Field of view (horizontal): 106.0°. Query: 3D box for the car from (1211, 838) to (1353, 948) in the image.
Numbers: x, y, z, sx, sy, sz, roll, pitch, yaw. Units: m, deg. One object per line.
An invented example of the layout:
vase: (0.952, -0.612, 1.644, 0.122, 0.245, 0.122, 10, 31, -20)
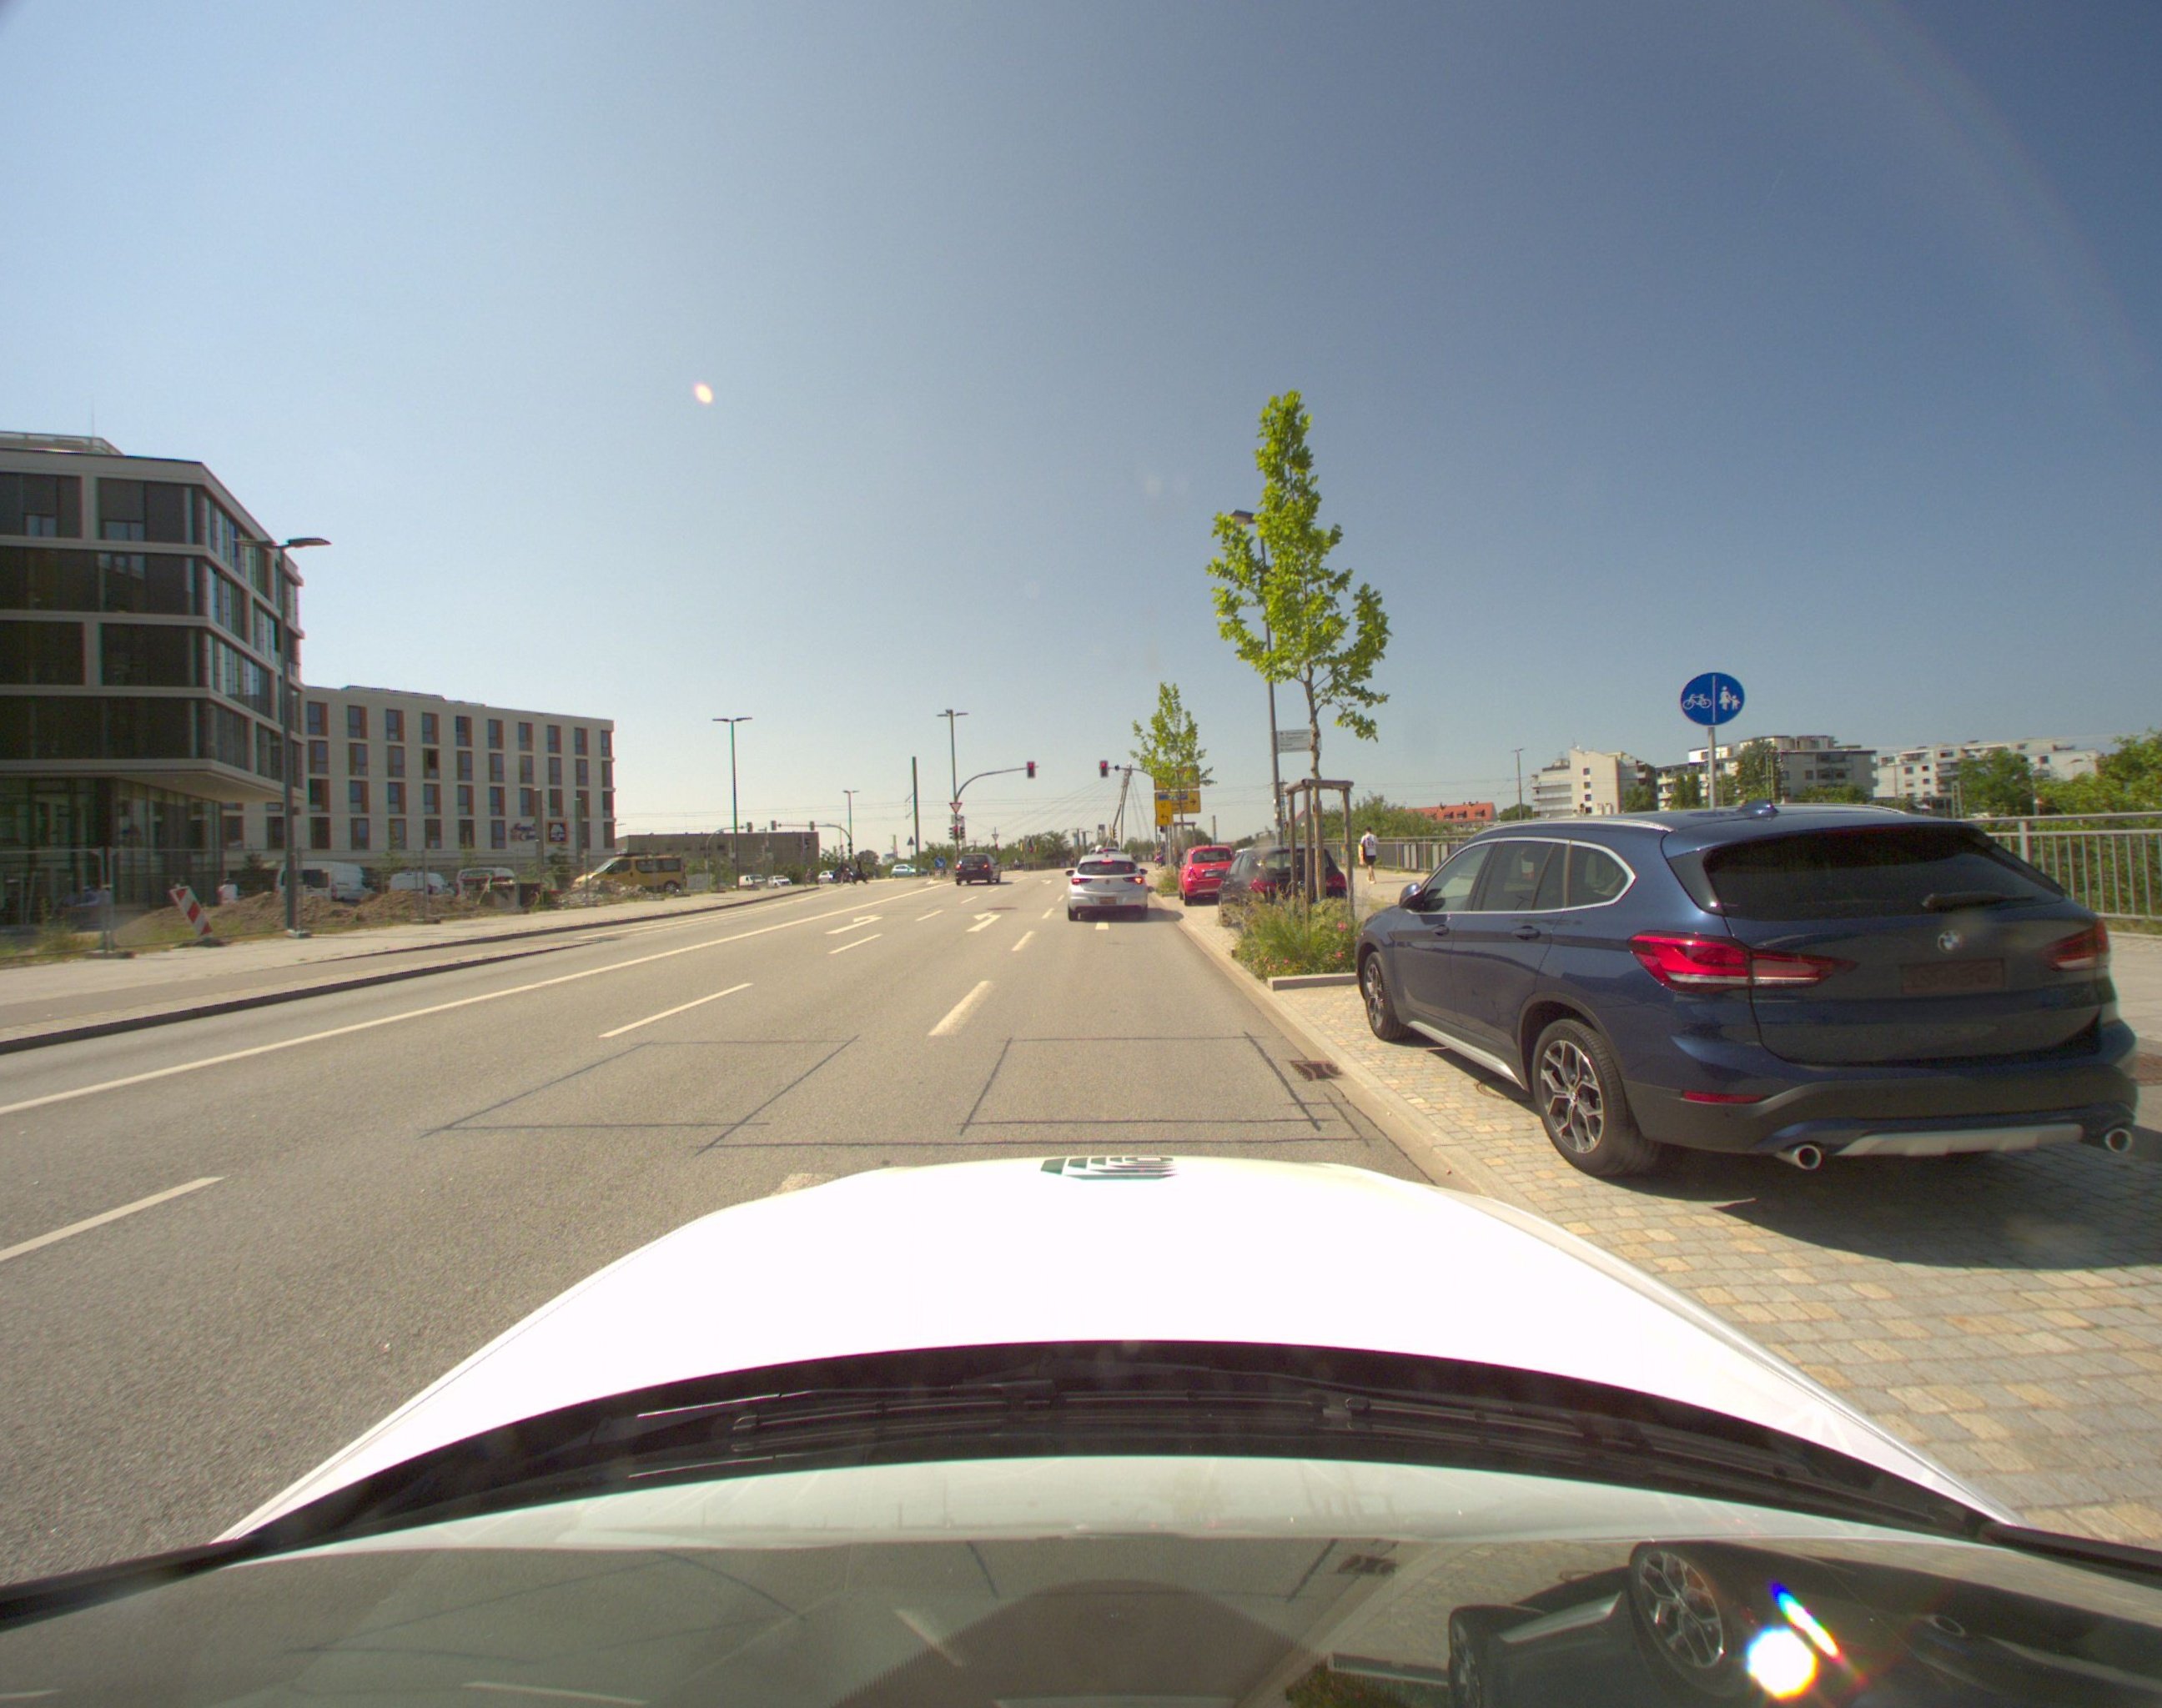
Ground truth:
car: (3.333, 0.578, 14.138, 1.575, 1.555, 3.548, -4, 0, 2)

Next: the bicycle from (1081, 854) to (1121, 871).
bicycle: (1.253, 0.551, 50.996, 2.494, 1.007, 0.606, -1, 0, 2)

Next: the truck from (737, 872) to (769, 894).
truck: (-39.234, 3.454, 97.360, 2.011, 2.540, 4.651, -1, -1, -44)

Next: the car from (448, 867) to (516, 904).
car: (-30.456, 1.556, 41.546, 2.005, 1.707, 4.521, 0, -1, -26)

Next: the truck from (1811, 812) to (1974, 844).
truck: (87.863, -2.806, 88.147, 17.854, 3.204, 3.724, 0, -1, -14)

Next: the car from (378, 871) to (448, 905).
car: (-32.938, 1.637, 40.265, 1.809, 1.508, 3.965, 0, -1, -26)

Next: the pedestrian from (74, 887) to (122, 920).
pedestrian: (-42.726, 2.124, 35.411, 0.737, 1.372, 1.121, -1, -1, 15)

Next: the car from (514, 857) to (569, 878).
car: (-52.694, 1.313, 79.579, 3.989, 2.014, 1.992, 0, -1, -12)

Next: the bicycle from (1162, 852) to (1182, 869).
bicycle: (6.191, 0.441, 55.383, 0.669, 1.127, 2.378, -1, -1, 23)

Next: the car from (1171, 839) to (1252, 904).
car: (3.531, 0.453, 22.643, 1.663, 1.540, 3.918, -4, -1, 2)

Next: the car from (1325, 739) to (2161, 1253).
car: (3.023, 0.516, 4.984, 1.797, 1.683, 4.272, -4, -1, 2)

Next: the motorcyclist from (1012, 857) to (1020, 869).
motorcyclist: (-7.690, 1.078, 96.340, 0.806, 1.476, 0.885, 0, -1, 2)

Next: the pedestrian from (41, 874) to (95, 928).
pedestrian: (-38.514, 1.773, 30.967, 0.933, 2.014, 0.969, -1, -1, 15)

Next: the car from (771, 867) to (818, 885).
car: (-28.105, 2.185, 79.989, 3.949, 1.551, 1.680, -3, -1, 10)

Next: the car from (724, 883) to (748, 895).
car: (-42.987, 4.338, 101.492, 1.675, 1.389, 3.743, 0, -1, -40)

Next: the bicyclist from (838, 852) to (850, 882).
bicyclist: (-15.051, 0.810, 51.798, 0.593, 1.887, 0.635, 0, -1, -5)

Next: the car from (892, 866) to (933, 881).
car: (-16.616, 1.933, 80.237, 3.754, 1.362, 1.542, -2, 0, 29)

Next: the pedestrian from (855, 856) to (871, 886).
pedestrian: (-13.514, 1.062, 50.486, 0.737, 1.863, 0.754, 0, -1, 1)

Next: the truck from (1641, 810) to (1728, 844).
truck: (60.133, -2.632, 81.204, 6.477, 3.204, 3.722, 0, -1, -13)

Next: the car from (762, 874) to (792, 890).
car: (-37.317, 3.442, 99.996, 3.996, 1.815, 1.943, -1, -1, 45)

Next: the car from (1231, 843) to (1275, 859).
car: (18.890, -0.349, 89.377, 4.253, 1.673, 1.990, -1, 0, -15)

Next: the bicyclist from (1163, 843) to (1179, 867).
bicyclist: (6.138, 0.063, 55.301, 0.813, 1.569, 0.953, -1, -1, 23)

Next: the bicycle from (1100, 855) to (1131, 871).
bicycle: (2.634, 0.651, 61.570, 2.309, 1.133, 0.637, -1, 0, 2)

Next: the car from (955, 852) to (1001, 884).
car: (-4.725, 0.634, 37.808, 1.581, 1.395, 3.341, -2, -1, 2)

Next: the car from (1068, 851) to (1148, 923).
car: (0.655, 0.705, 19.548, 1.684, 1.520, 4.272, -1, 0, 2)

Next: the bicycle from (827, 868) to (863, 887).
bicycle: (-15.009, 1.484, 51.795, 2.078, 1.178, 0.554, 0, -1, -7)

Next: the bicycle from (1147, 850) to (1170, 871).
bicycle: (5.036, 0.399, 52.702, 0.720, 1.133, 2.547, -5, 2, 22)

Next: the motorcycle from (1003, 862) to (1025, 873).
motorcycle: (-7.866, 1.563, 96.345, 2.527, 1.233, 0.648, 0, -1, 1)

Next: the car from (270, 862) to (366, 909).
car: (-35.572, 1.426, 38.118, 2.220, 2.056, 4.134, 0, -1, -28)

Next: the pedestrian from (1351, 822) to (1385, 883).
pedestrian: (8.789, -0.029, 24.961, 0.755, 1.830, 0.885, 0, -1, 2)

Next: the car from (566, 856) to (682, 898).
car: (-21.976, 1.048, 39.300, 1.974, 1.890, 4.514, -1, -1, 40)

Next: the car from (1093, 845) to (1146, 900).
car: (1.253, 0.587, 26.910, 1.628, 1.674, 3.746, 0, -1, 2)

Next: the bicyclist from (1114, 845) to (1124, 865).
bicyclist: (2.844, 0.064, 61.580, 0.715, 1.504, 0.825, -1, -1, 2)

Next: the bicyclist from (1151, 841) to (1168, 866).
bicyclist: (5.113, -0.026, 52.956, 0.852, 1.560, 0.829, -1, -1, 24)
